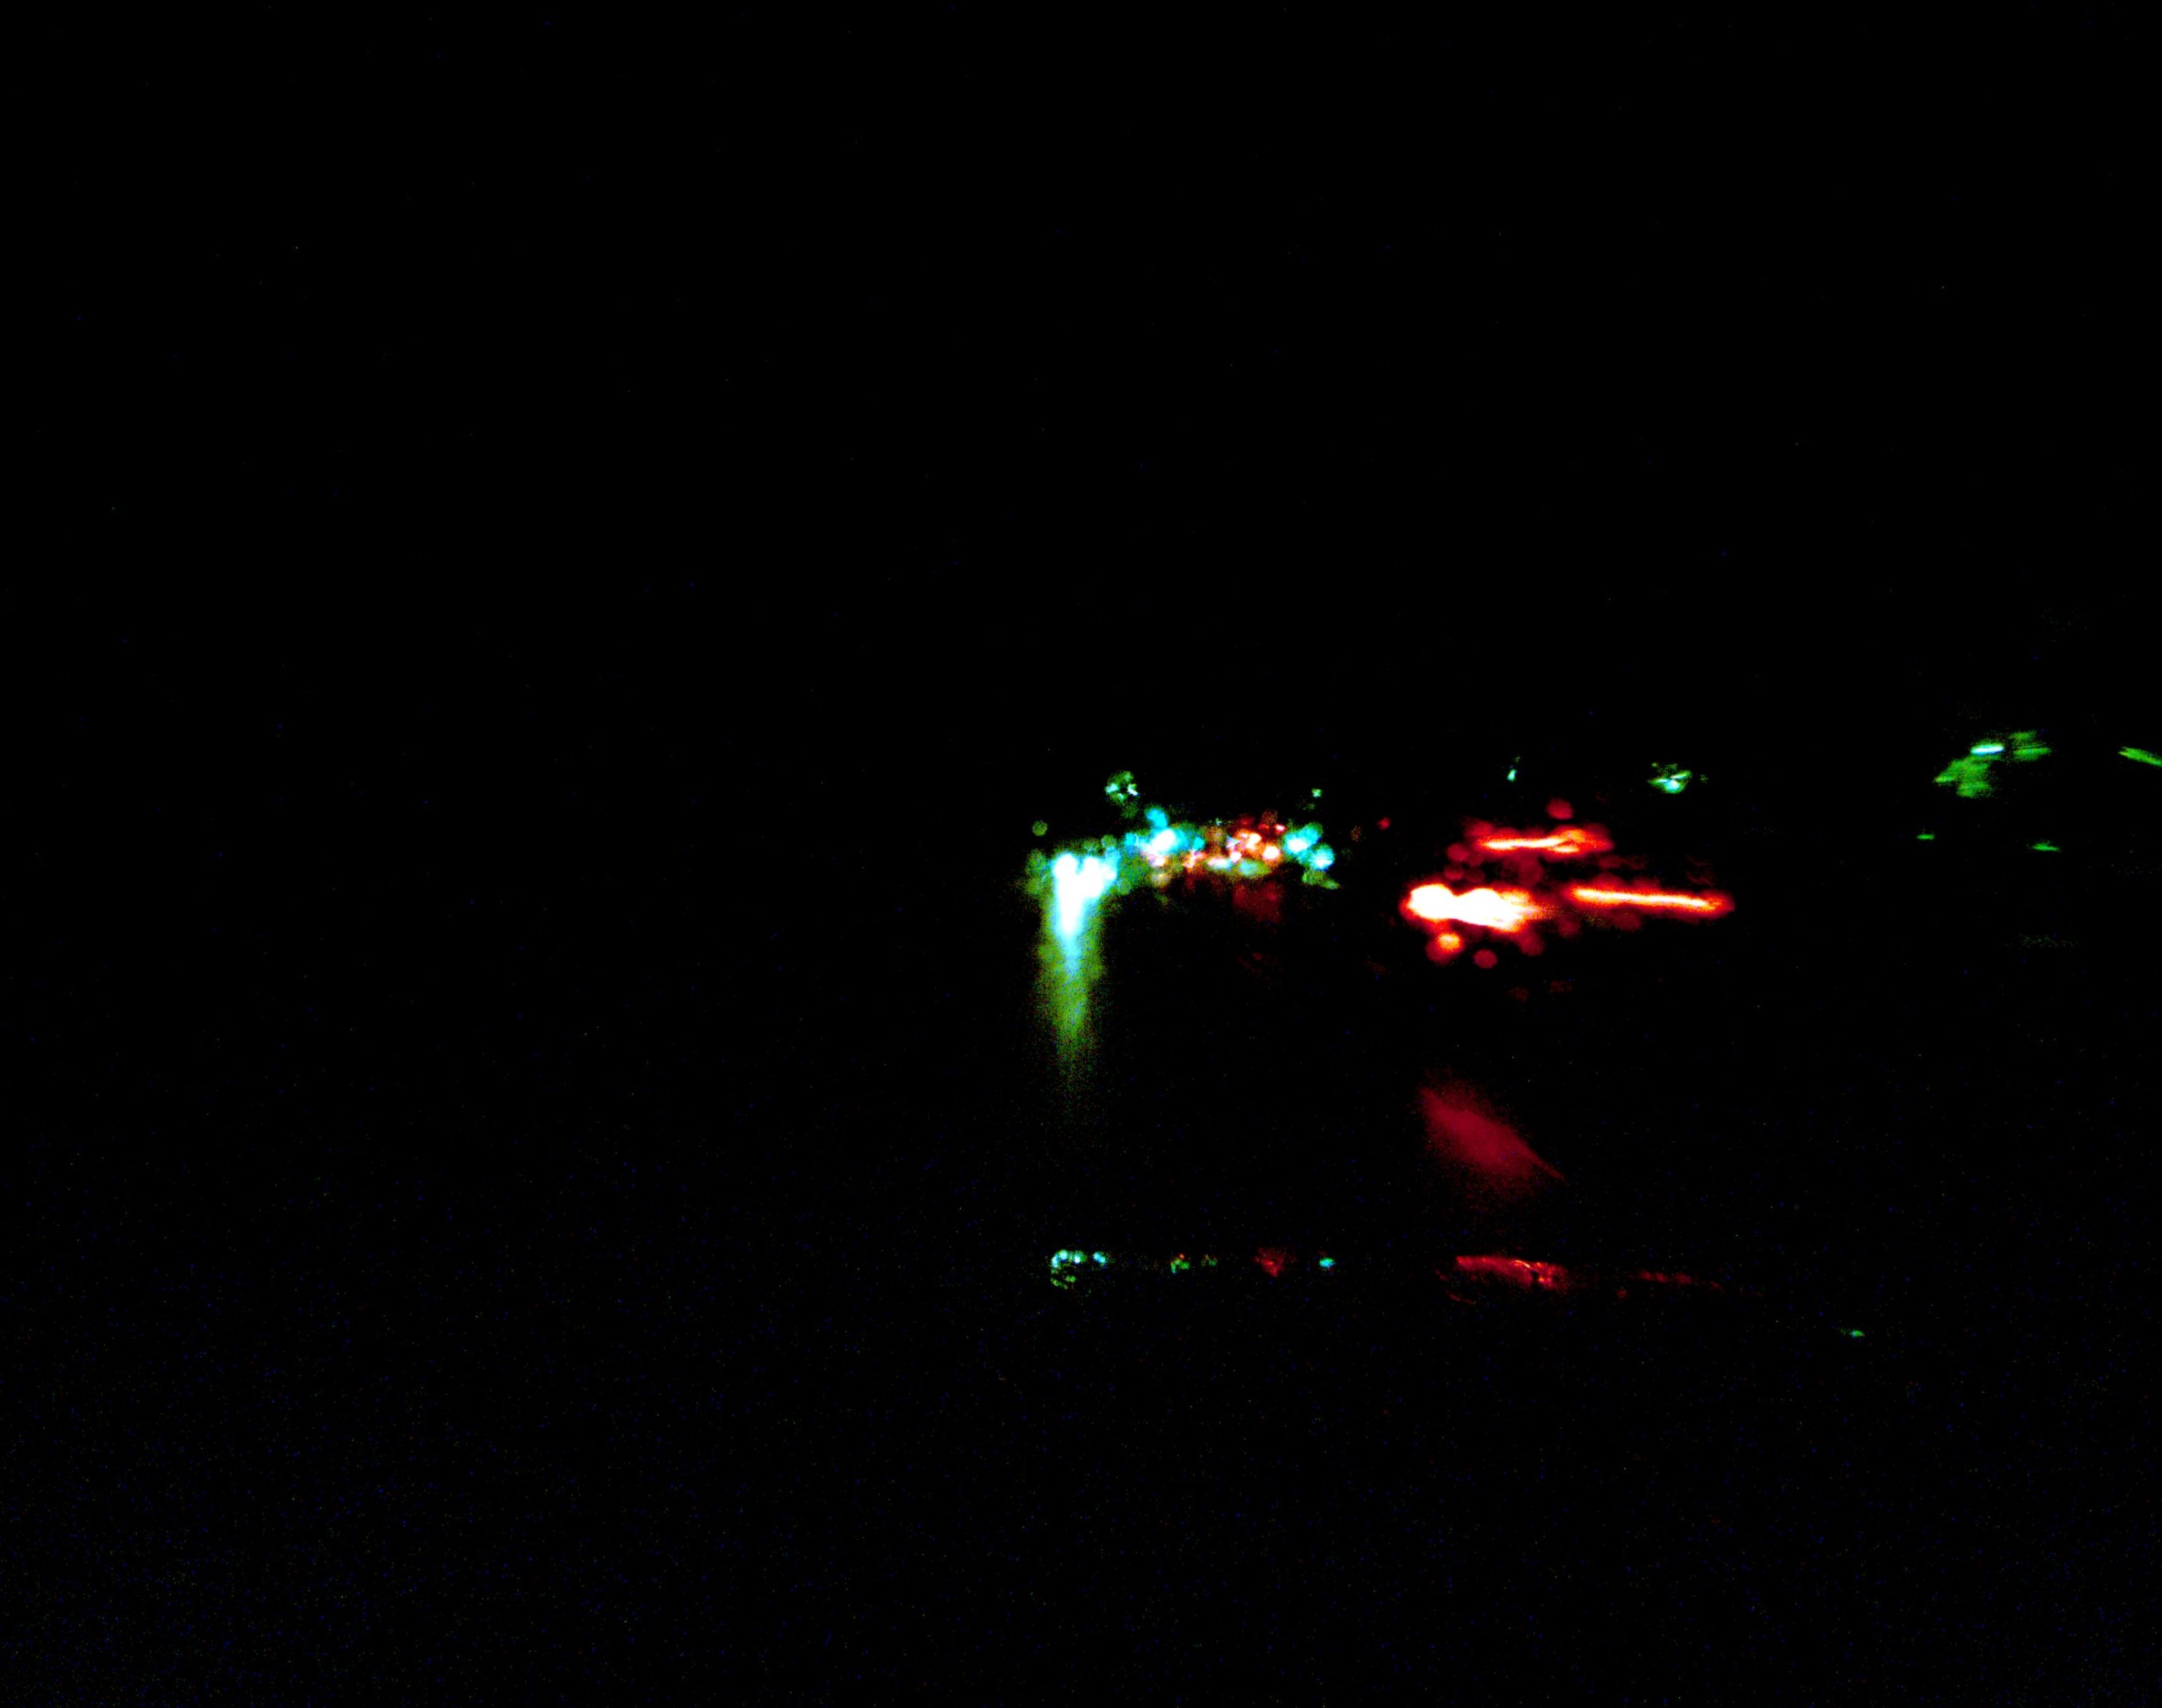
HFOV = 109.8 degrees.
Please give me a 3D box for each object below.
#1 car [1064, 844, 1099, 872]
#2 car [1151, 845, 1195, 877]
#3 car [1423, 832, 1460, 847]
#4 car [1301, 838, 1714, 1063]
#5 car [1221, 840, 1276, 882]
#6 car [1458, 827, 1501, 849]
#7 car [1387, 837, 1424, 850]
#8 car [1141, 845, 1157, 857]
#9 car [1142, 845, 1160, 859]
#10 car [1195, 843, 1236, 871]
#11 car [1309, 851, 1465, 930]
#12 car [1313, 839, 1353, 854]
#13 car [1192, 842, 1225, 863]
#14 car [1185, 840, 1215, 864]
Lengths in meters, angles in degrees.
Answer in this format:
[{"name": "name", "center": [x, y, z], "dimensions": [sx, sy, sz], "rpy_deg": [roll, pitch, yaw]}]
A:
[{"name": "car", "center": [0.072, 0.213, 47.775], "dimensions": [1.878, 1.579, 4.889], "rpy_deg": [-2, 1, 3]}, {"name": "car", "center": [4.857, 0.339, 40.784], "dimensions": [2.115, 1.566, 4.681], "rpy_deg": [-2, 1, 5]}, {"name": "car", "center": [43.795, -1.776, 92.377], "dimensions": [1.851, 1.683, 4.445], "rpy_deg": [-2, 1, -7]}, {"name": "car", "center": [3.755, 0.703, 7.678], "dimensions": [1.928, 1.606, 4.085], "rpy_deg": [-2, 1, 1]}, {"name": "car", "center": [8.070, 0.291, 37.015], "dimensions": [1.998, 1.854, 5.321], "rpy_deg": [-1, 0, 6]}, {"name": "car", "center": [44.199, -1.772, 84.508], "dimensions": [1.998, 2.294, 6.023], "rpy_deg": [-2, 1, 5]}, {"name": "car", "center": [41.857, -1.353, 98.077], "dimensions": [2.002, 1.582, 3.991], "rpy_deg": [-2, 1, -26]}, {"name": "car", "center": [10.092, -0.501, 113.250], "dimensions": [1.998, 1.688, 5.012], "rpy_deg": [-2, 1, 2]}, {"name": "car", "center": [8.801, -0.252, 96.132], "dimensions": [1.961, 1.562, 4.466], "rpy_deg": [-2, 1, 2]}, {"name": "car", "center": [8.204, 0.159, 46.680], "dimensions": [2.088, 1.534, 4.900], "rpy_deg": [-1, 0, 6]}, {"name": "car", "center": [6.328, 0.671, 16.353], "dimensions": [1.807, 1.375, 4.773], "rpy_deg": [-2, 0, 5]}, {"name": "car", "center": [32.965, -0.952, 99.442], "dimensions": [4.511, 1.833, 2.004], "rpy_deg": [0, 0, 36]}, {"name": "car", "center": [9.945, -0.150, 59.501], "dimensions": [2.186, 1.549, 5.206], "rpy_deg": [-1, 0, 6]}, {"name": "car", "center": [10.413, -0.191, 66.968], "dimensions": [2.158, 2.002, 4.996], "rpy_deg": [-2, 1, 4]}]
